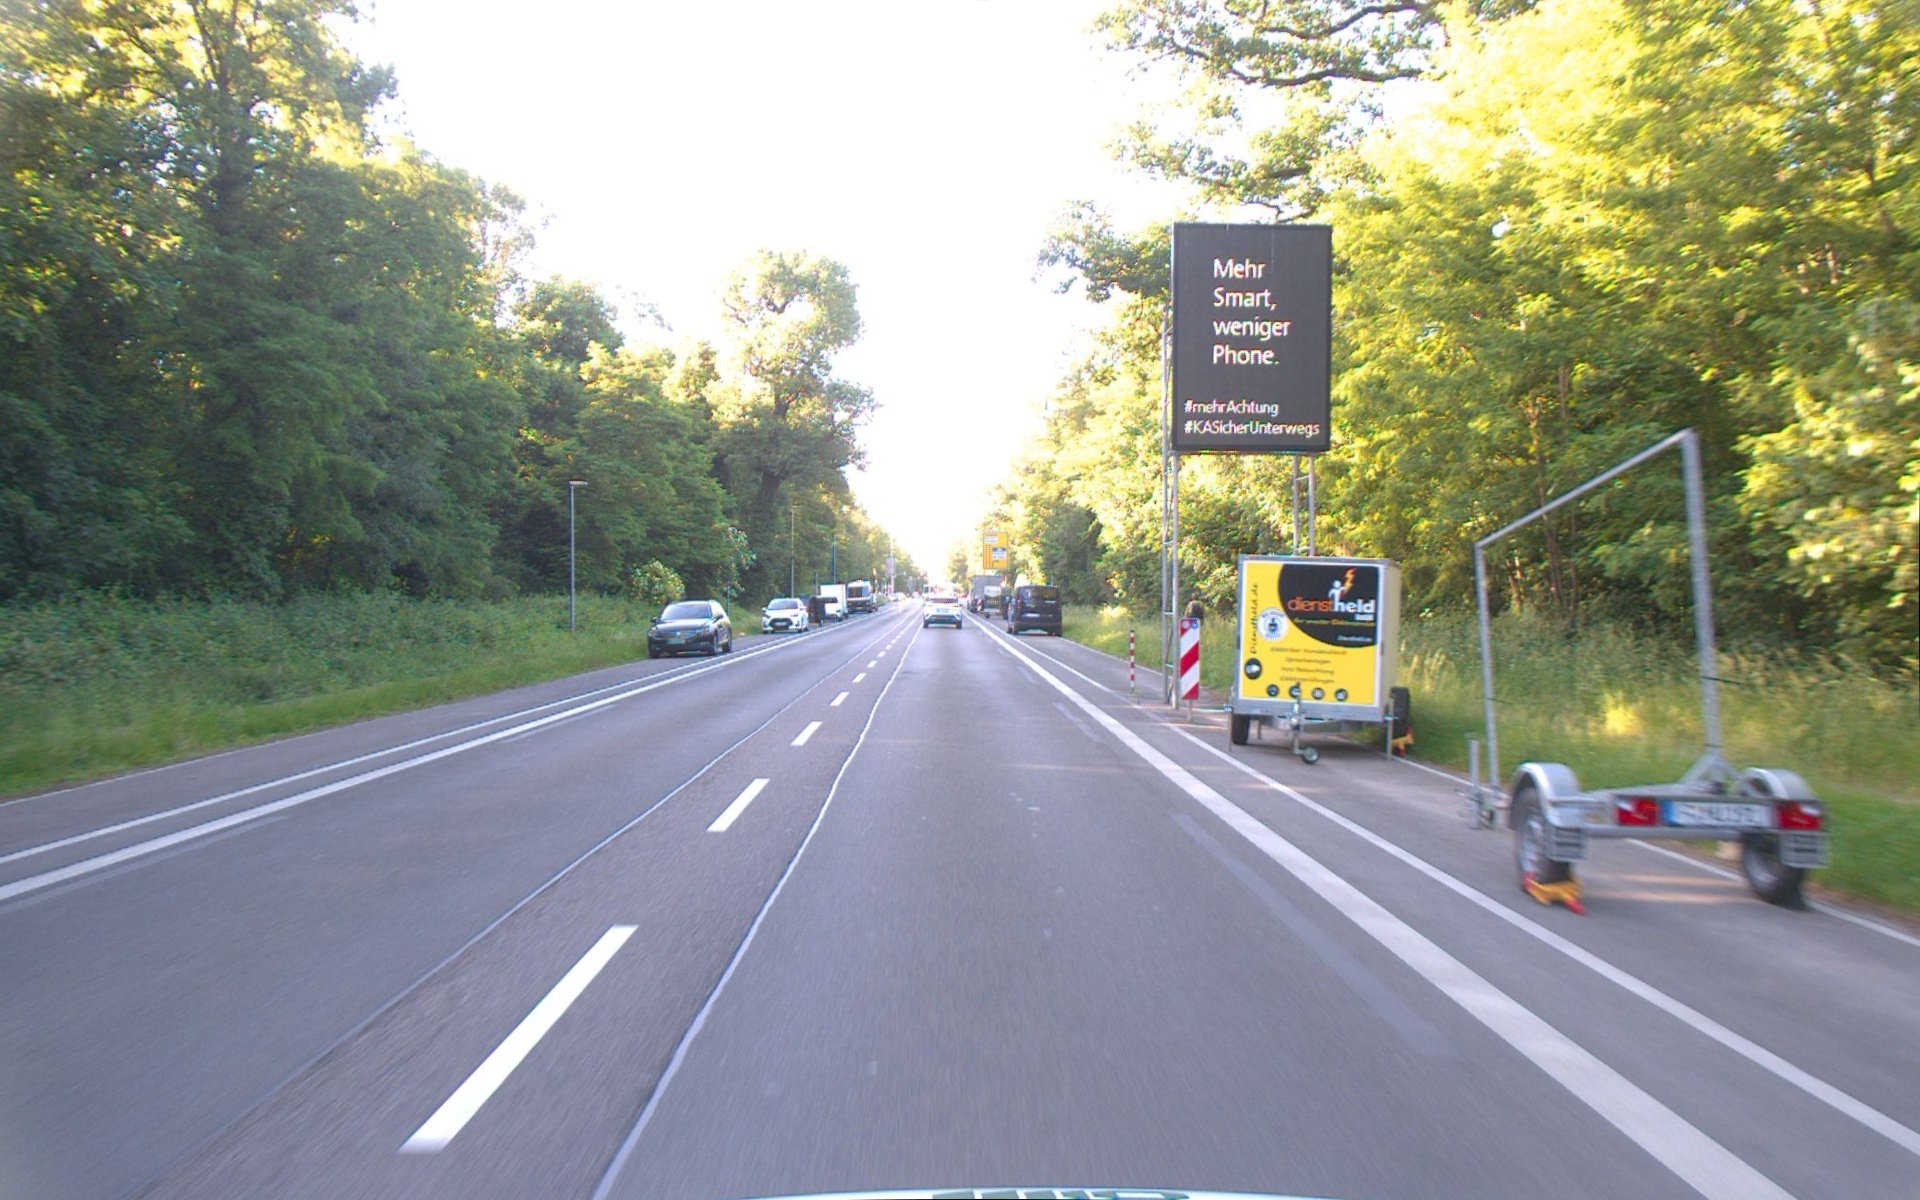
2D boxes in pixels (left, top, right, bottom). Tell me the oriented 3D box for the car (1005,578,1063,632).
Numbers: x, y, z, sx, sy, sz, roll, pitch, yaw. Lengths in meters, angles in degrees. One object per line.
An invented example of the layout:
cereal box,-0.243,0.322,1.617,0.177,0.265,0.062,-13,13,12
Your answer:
car,2.992,0.177,67.593,2.070,2.049,5.039,2,0,0

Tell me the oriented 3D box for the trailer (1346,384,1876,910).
trailer,3.658,0.234,10.090,1.581,2.552,3.999,1,0,-1

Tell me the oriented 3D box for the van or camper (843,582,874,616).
van or camper,-8.865,-0.134,144.801,2.255,2.816,5.556,-3,0,-1

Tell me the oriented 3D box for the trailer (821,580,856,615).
trailer,-8.342,-0.151,113.729,2.032,2.333,3.487,-1,0,1

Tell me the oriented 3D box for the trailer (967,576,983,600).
trailer,1.470,-1.186,165.304,1.469,2.274,4.549,1,0,0

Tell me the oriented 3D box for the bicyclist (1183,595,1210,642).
bicyclist,6.923,0.538,48.377,0.598,1.347,1.175,0,0,-1

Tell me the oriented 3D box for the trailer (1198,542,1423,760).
trailer,3.852,0.460,17.703,1.921,2.058,3.845,0,0,19

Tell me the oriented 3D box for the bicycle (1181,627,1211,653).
bicycle,6.906,1.152,48.462,0.579,0.704,1.996,0,0,-1

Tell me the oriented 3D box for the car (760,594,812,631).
car,-7.602,0.529,72.472,1.829,1.476,4.070,-3,0,-1

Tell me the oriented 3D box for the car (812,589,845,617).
car,-7.965,0.145,100.448,1.778,1.599,4.205,-2,0,-3

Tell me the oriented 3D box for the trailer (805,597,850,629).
trailer,-6.939,0.663,86.698,1.366,1.601,2.675,0,0,19

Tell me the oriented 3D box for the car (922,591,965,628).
car,-0.767,0.400,77.363,1.953,1.668,3.999,0,0,-1

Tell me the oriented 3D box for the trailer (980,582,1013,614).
trailer,2.465,-0.116,111.979,1.580,2.149,2.397,1,0,20

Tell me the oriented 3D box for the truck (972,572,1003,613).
truck,2.333,-0.647,141.779,2.454,3.425,7.106,1,0,0

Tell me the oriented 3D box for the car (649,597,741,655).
car,-7.271,0.676,45.787,1.817,1.490,4.783,0,0,-1
